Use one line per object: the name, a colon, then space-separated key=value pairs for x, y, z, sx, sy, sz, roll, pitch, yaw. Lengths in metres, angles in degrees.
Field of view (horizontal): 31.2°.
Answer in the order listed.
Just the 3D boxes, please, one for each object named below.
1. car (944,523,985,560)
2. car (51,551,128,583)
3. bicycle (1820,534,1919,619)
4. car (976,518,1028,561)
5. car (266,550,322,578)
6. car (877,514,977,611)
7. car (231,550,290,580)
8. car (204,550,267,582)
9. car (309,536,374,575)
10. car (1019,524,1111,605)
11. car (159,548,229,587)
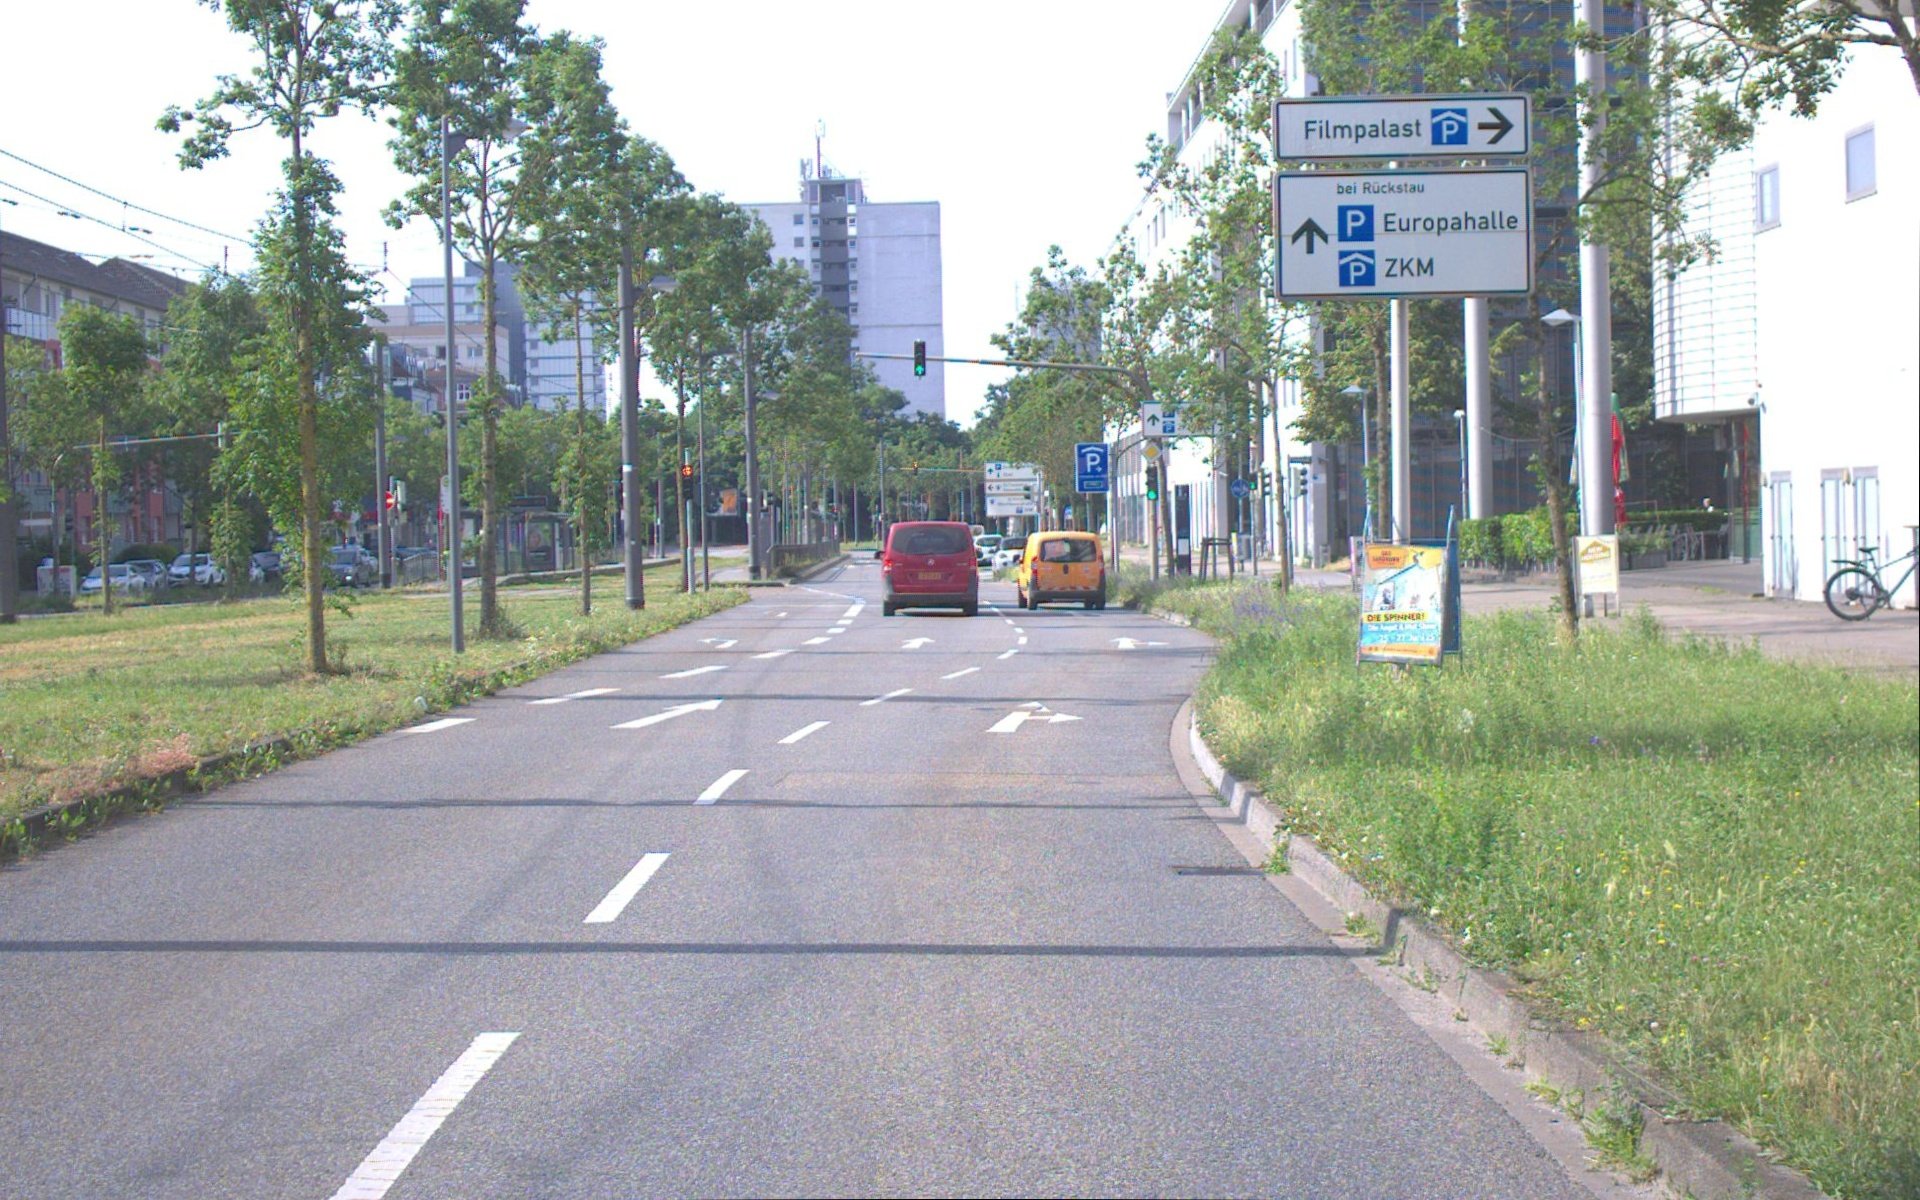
car: x=0.176 y=-2.564 z=151.549 sx=1.689 sy=1.521 sz=3.851 roll=-3 pitch=1 yaw=0
car: x=-31.450 y=-1.207 z=124.313 sx=1.833 sy=1.144 sz=4.165 roll=0 pitch=1 yaw=-1
bicycle: x=12.615 y=-0.323 z=46.090 sx=2.009 sy=1.099 sz=0.675 roll=-1 pitch=1 yaw=4
car: x=1.513 y=-2.222 z=125.347 sx=1.720 sy=1.514 sz=3.782 roll=-1 pitch=2 yaw=-2
car: x=-32.259 y=-1.753 z=166.561 sx=1.980 sy=1.356 sz=4.070 roll=0 pitch=1 yaw=-1
car: x=-0.687 y=-0.764 z=68.794 sx=1.874 sy=1.847 sz=4.001 roll=-1 pitch=1 yaw=-2
car: x=-31.994 y=-1.605 z=157.281 sx=1.980 sy=1.356 sz=4.070 roll=0 pitch=1 yaw=-1
car: x=-31.835 y=-1.506 z=151.095 sx=1.980 sy=1.356 sz=4.070 roll=0 pitch=1 yaw=-1
car: x=-27.304 y=-1.980 z=151.972 sx=1.993 sy=1.700 sz=4.713 roll=-1 pitch=1 yaw=0
car: x=2.282 y=-0.801 z=75.538 sx=1.875 sy=1.690 sz=3.974 roll=-1 pitch=1 yaw=0
car: x=-31.451 y=-1.348 z=141.221 sx=1.980 sy=1.551 sz=4.537 roll=0 pitch=1 yaw=-1
